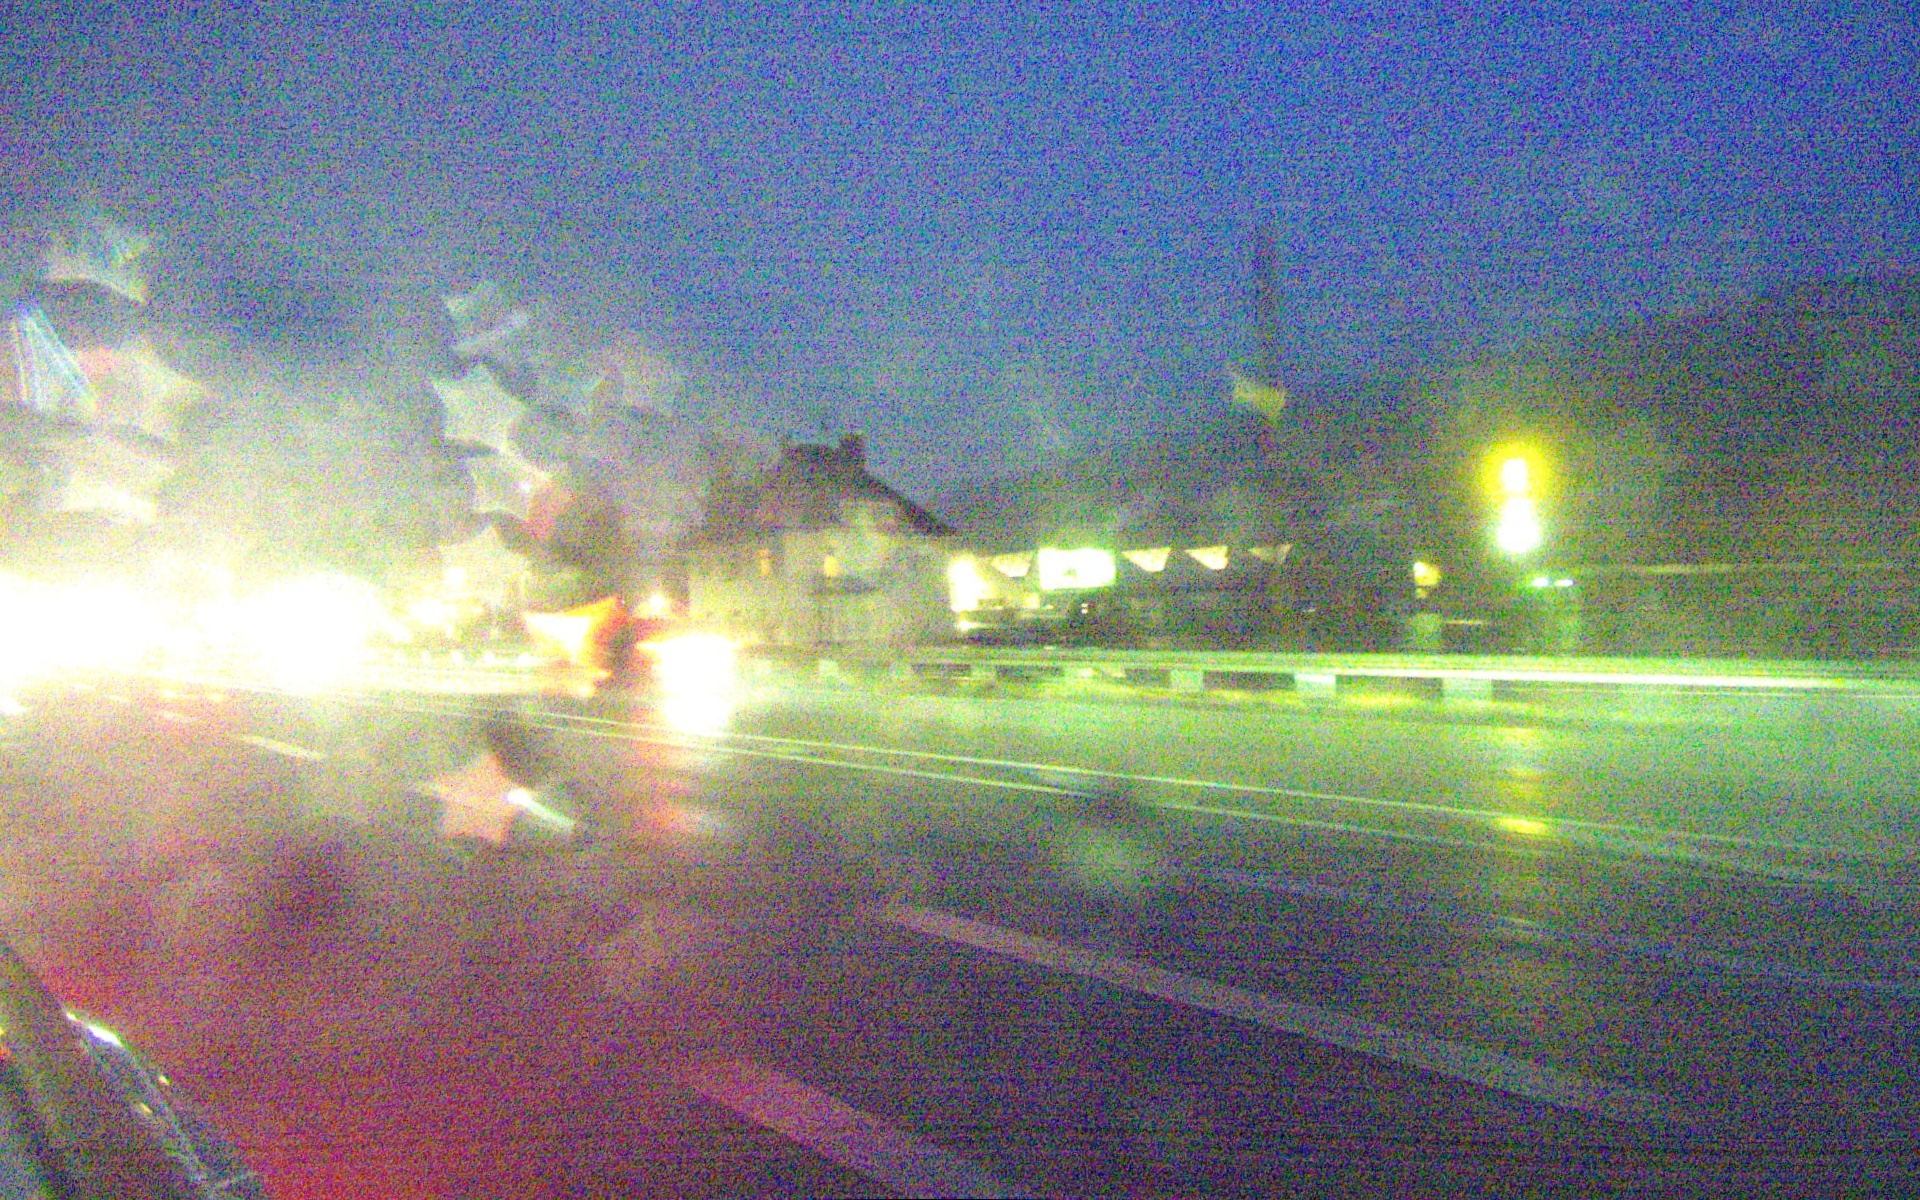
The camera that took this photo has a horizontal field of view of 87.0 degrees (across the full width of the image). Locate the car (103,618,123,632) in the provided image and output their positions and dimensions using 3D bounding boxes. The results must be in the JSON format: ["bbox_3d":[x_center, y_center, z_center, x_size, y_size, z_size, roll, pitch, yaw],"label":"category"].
[{"bbox_3d":[-126.754,3.701,151.468,1.967,2.029,4.010,-1,0,-35],"label":"car"}]

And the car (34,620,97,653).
[{"bbox_3d":[-47.472,1.927,53.705,3.895,1.612,1.863,-1,0,39],"label":"car"}]

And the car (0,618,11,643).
[{"bbox_3d":[-80.795,2.536,84.678,1.970,2.029,4.005,-1,0,-42],"label":"car"}]

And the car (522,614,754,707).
[{"bbox_3d":[-5.965,1.030,18.492,4.484,1.453,1.815,-1,0,38],"label":"car"}]

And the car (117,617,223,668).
[{"bbox_3d":[-30.138,1.564,38.586,4.519,1.758,2.177,-1,0,39],"label":"car"}]

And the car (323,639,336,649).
[{"bbox_3d":[-108.062,7.578,173.379,1.783,1.582,4.305,-1,0,-30],"label":"car"}]

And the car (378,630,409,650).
[{"bbox_3d":[-60.506,4.248,108.136,1.970,2.029,4.004,-1,0,-43],"label":"car"}]

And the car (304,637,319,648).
[{"bbox_3d":[-110.708,7.170,172.813,1.783,1.688,4.306,-1,0,-26],"label":"car"}]

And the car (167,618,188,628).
[{"bbox_3d":[-135.320,4.039,175.032,1.965,1.625,4.627,-1,0,-27],"label":"car"}]
